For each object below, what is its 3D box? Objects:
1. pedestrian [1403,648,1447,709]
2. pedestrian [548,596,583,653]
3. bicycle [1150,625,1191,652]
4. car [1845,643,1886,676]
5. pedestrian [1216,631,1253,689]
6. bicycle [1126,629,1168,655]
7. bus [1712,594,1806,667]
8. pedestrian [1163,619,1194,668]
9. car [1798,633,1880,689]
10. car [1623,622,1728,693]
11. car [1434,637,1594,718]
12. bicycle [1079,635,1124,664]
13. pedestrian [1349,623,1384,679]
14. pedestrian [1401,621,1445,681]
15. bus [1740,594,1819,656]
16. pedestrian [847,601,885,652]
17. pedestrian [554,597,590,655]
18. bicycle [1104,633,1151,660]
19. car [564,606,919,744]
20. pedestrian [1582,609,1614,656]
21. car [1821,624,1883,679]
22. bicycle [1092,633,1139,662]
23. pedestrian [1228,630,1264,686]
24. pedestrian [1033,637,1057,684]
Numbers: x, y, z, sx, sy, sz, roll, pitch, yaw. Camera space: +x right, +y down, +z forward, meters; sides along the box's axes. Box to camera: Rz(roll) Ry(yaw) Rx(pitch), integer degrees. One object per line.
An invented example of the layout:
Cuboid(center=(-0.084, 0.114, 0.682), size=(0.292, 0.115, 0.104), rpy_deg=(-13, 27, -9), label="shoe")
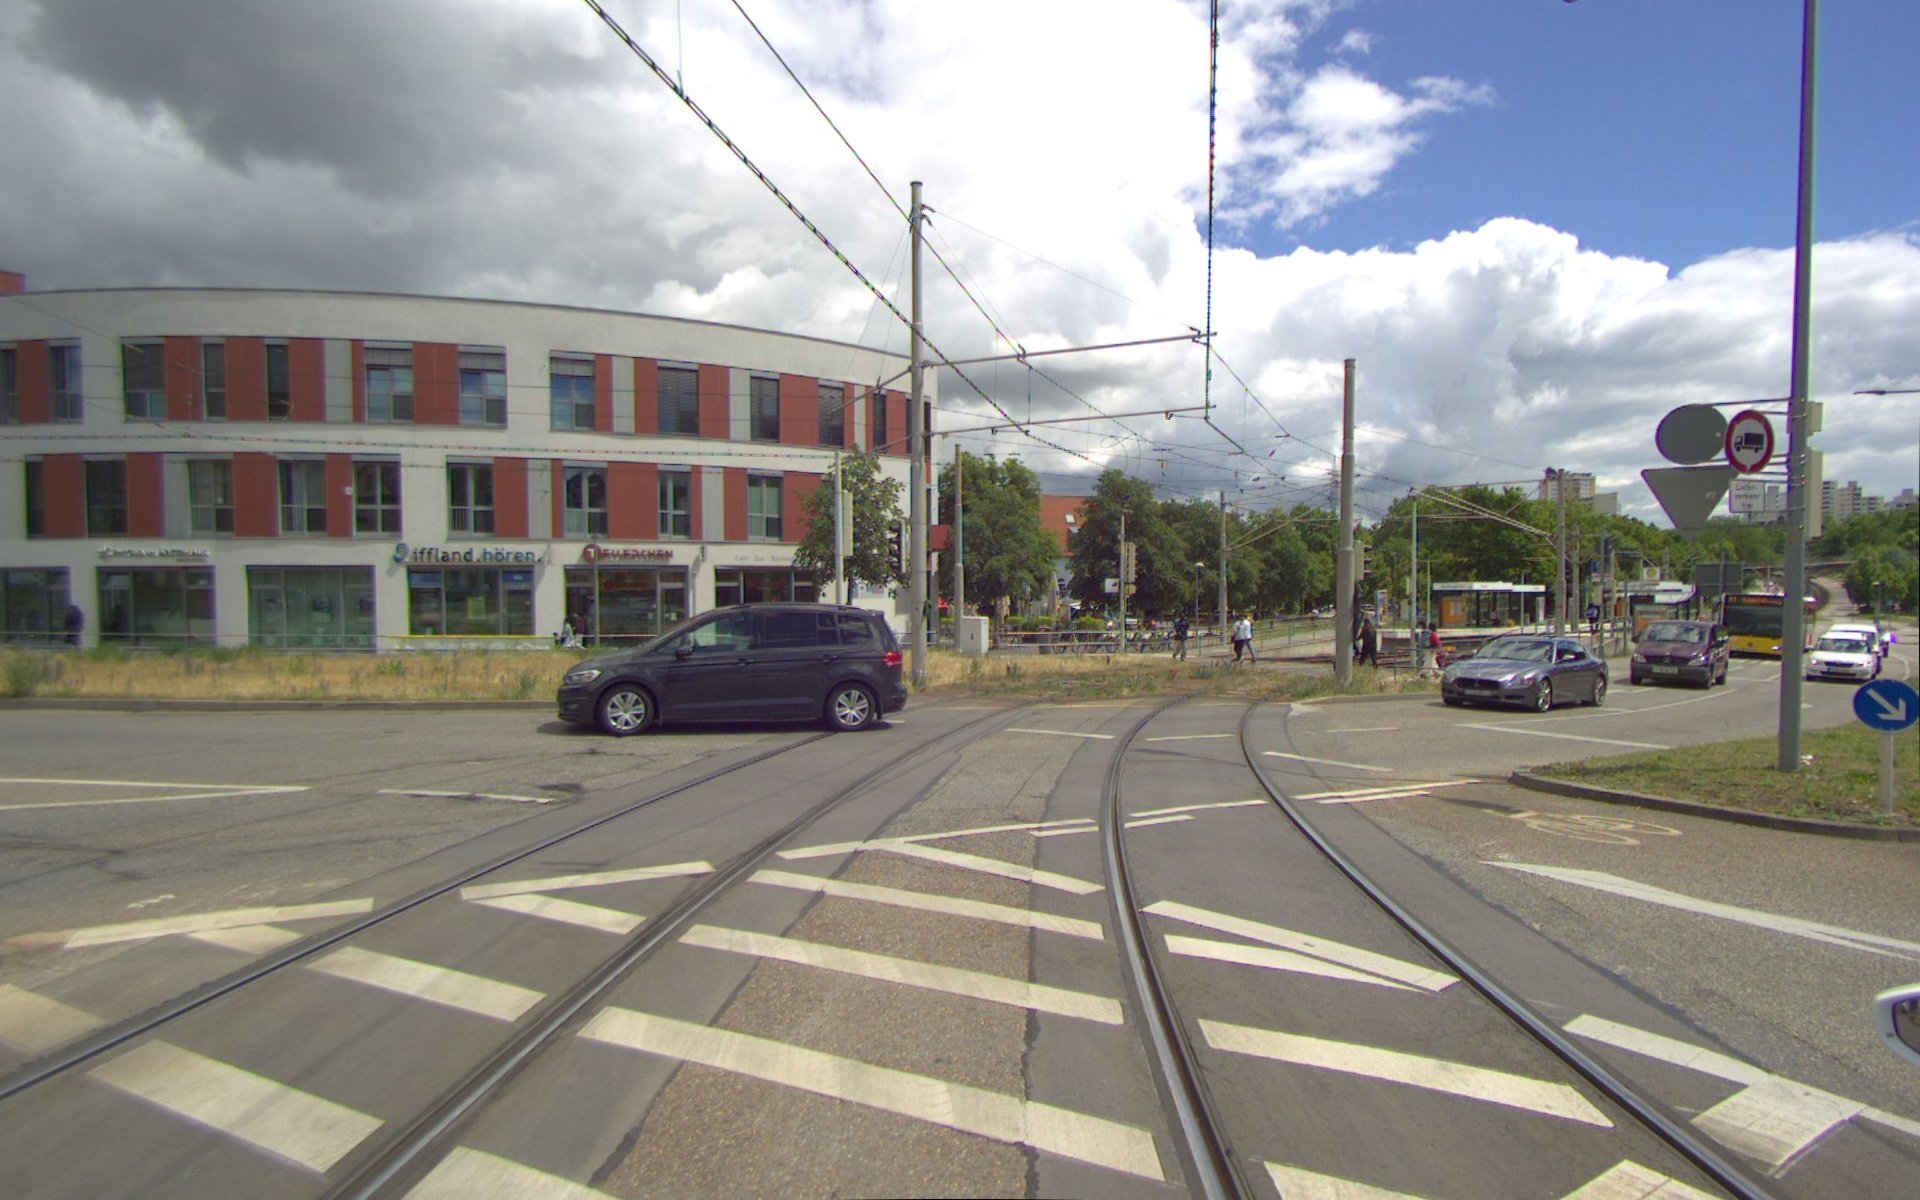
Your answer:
Cuboid(center=(12.803, 2.149, 27.643), size=(0.790, 1.561, 0.830), rpy_deg=(5, 2, 42), label="pedestrian")
Cuboid(center=(-14.575, 0.894, 37.097), size=(1.123, 2.040, 1.251), rpy_deg=(1, -1, -22), label="pedestrian")
Cuboid(center=(9.080, 1.664, 43.431), size=(0.602, 1.112, 1.889), rpy_deg=(1, -1, -32), label="bicycle")
Cuboid(center=(48.256, 3.124, 53.530), size=(1.513, 1.572, 3.712), rpy_deg=(3, 1, 42), label="car")
Cuboid(center=(9.114, 1.976, 33.377), size=(0.767, 1.846, 0.898), rpy_deg=(1, -1, -42), label="pedestrian")
Cuboid(center=(7.976, 1.780, 42.955), size=(0.686, 1.043, 1.889), rpy_deg=(1, -1, -31), label="bicycle")
Cuboid(center=(39.124, 1.323, 49.020), size=(2.697, 3.151, 9.644), rpy_deg=(1, 2, 44), label="bus")
Cuboid(center=(7.540, 1.501, 34.648), size=(0.820, 1.624, 0.669), rpy_deg=(1, -3, 31), label="pedestrian")
Cuboid(center=(29.264, 1.971, 33.403), size=(4.050, 1.671, 1.682), rpy_deg=(1, 1, -44), label="car")
Cuboid(center=(21.225, 1.659, 29.710), size=(1.971, 1.846, 5.046), rpy_deg=(2, -1, 41), label="car")
Cuboid(center=(11.600, 1.554, 20.851), size=(1.777, 1.429, 5.025), rpy_deg=(1, -2, 42), label="car")
Cuboid(center=(5.729, 1.984, 40.750), size=(0.688, 1.112, 1.885), rpy_deg=(1, -1, -37), label="bicycle")
Cuboid(center=(12.186, 1.517, 30.144), size=(0.818, 1.617, 0.643), rpy_deg=(2, -1, 11), label="pedestrian")
Cuboid(center=(13.262, 1.447, 28.744), size=(0.914, 1.658, 0.853), rpy_deg=(2, -2, -42), label="pedestrian")
Cuboid(center=(45.625, 1.239, 55.801), size=(2.697, 3.111, 8.908), rpy_deg=(1, 2, 44), label="bus")
Cuboid(center=(-3.844, 1.065, 41.113), size=(1.126, 2.040, 1.247), rpy_deg=(1, -1, -30), label="pedestrian")
Cuboid(center=(-13.839, 0.931, 35.836), size=(1.123, 2.040, 1.251), rpy_deg=(1, -1, -22), label="pedestrian")
Cuboid(center=(7.026, 1.944, 42.146), size=(0.689, 1.077, 1.880), rpy_deg=(2, -1, -44), label="bicycle")
Cuboid(center=(-2.830, 0.950, 13.173), size=(4.229, 1.601, 1.804), rpy_deg=(2, -1, -18), label="car")
Cuboid(center=(28.379, 1.432, 44.667), size=(1.022, 2.040, 0.962), rpy_deg=(2, -1, -43), label="pedestrian")
Cuboid(center=(35.177, 1.980, 39.654), size=(1.742, 1.685, 4.481), rpy_deg=(0, 3, 41), label="car")
Cuboid(center=(6.391, 1.962, 41.382), size=(0.689, 1.112, 1.882), rpy_deg=(2, -1, -41), label="bicycle")
Cuboid(center=(9.757, 1.964, 34.224), size=(0.767, 1.846, 0.898), rpy_deg=(1, -1, -42), label="pedestrian")
Cuboid(center=(3.245, 2.307, 38.396), size=(0.657, 1.757, 0.834), rpy_deg=(1, -1, 23), label="pedestrian")
